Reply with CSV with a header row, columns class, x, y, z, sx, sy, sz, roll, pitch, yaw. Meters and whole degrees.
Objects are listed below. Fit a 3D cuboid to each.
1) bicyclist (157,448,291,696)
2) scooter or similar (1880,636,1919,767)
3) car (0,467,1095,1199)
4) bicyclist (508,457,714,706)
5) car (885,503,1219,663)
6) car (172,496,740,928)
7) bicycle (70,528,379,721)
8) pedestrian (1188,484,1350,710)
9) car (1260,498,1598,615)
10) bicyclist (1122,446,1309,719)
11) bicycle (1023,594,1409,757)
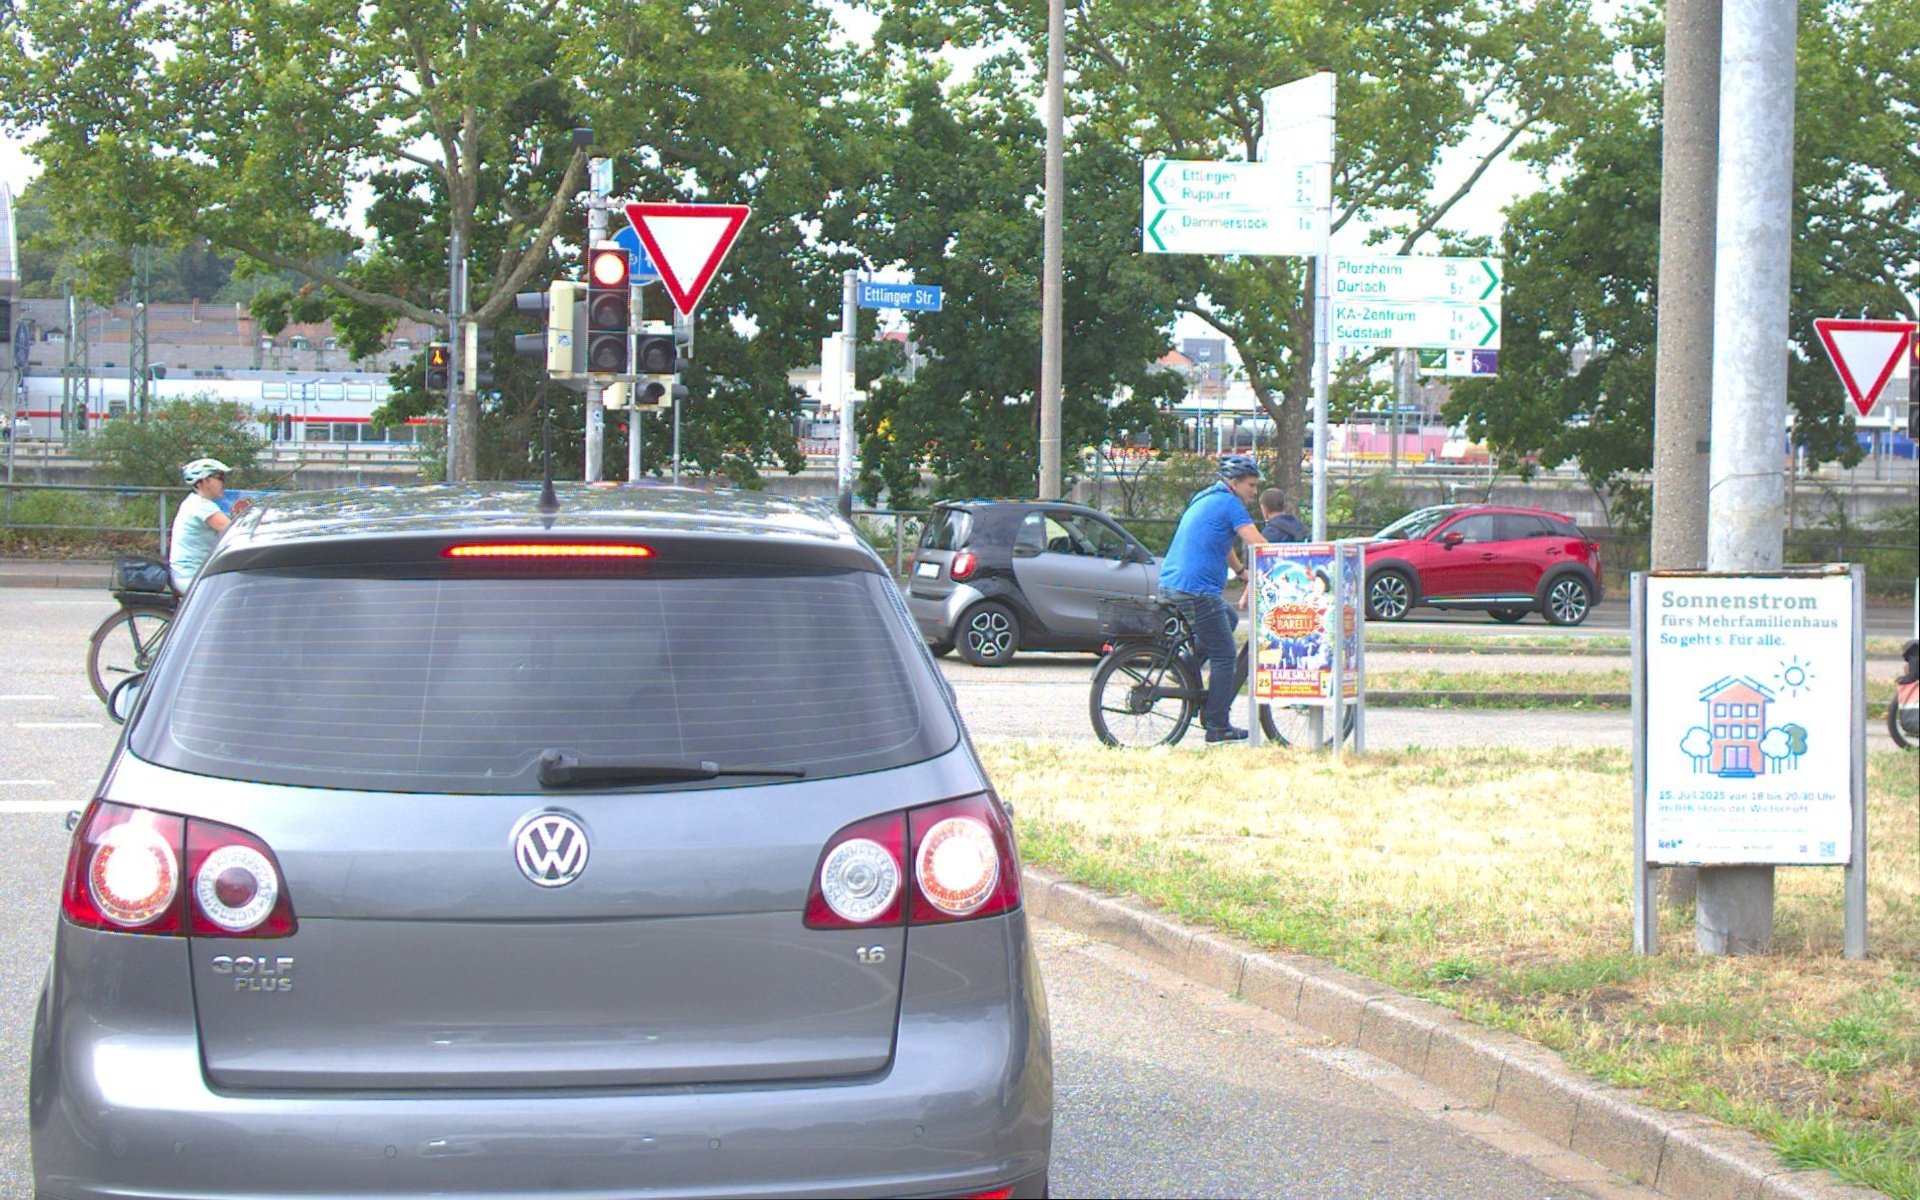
class,x,y,z,sx,sy,sz,roll,pitch,yaw
bicyclist,-4.771,-0.188,22.262,0.779,1.575,0.655,0,2,-17
scooter or similar,7.538,0.696,23.356,2.378,0.846,0.809,0,2,-14
car,-0.958,0.529,7.233,1.740,1.541,4.083,1,1,-8
bicyclist,-2.061,-0.118,20.241,1.113,1.431,0.648,0,2,-15
car,0.839,-0.165,31.919,2.710,1.417,1.500,0,2,-21
car,-2.188,0.335,13.949,1.740,1.477,4.083,0,1,-16
bicycle,-4.771,0.155,22.290,1.900,1.206,0.643,0,2,-17
pedestrian,2.426,-0.036,26.909,1.048,1.704,0.853,2,2,17
car,6.019,-0.559,44.184,3.950,1.443,1.703,0,2,-20
bicyclist,1.571,-0.116,21.252,0.880,1.650,0.812,0,2,-19
bicycle,1.581,0.452,21.249,2.227,0.949,0.812,0,2,-19
